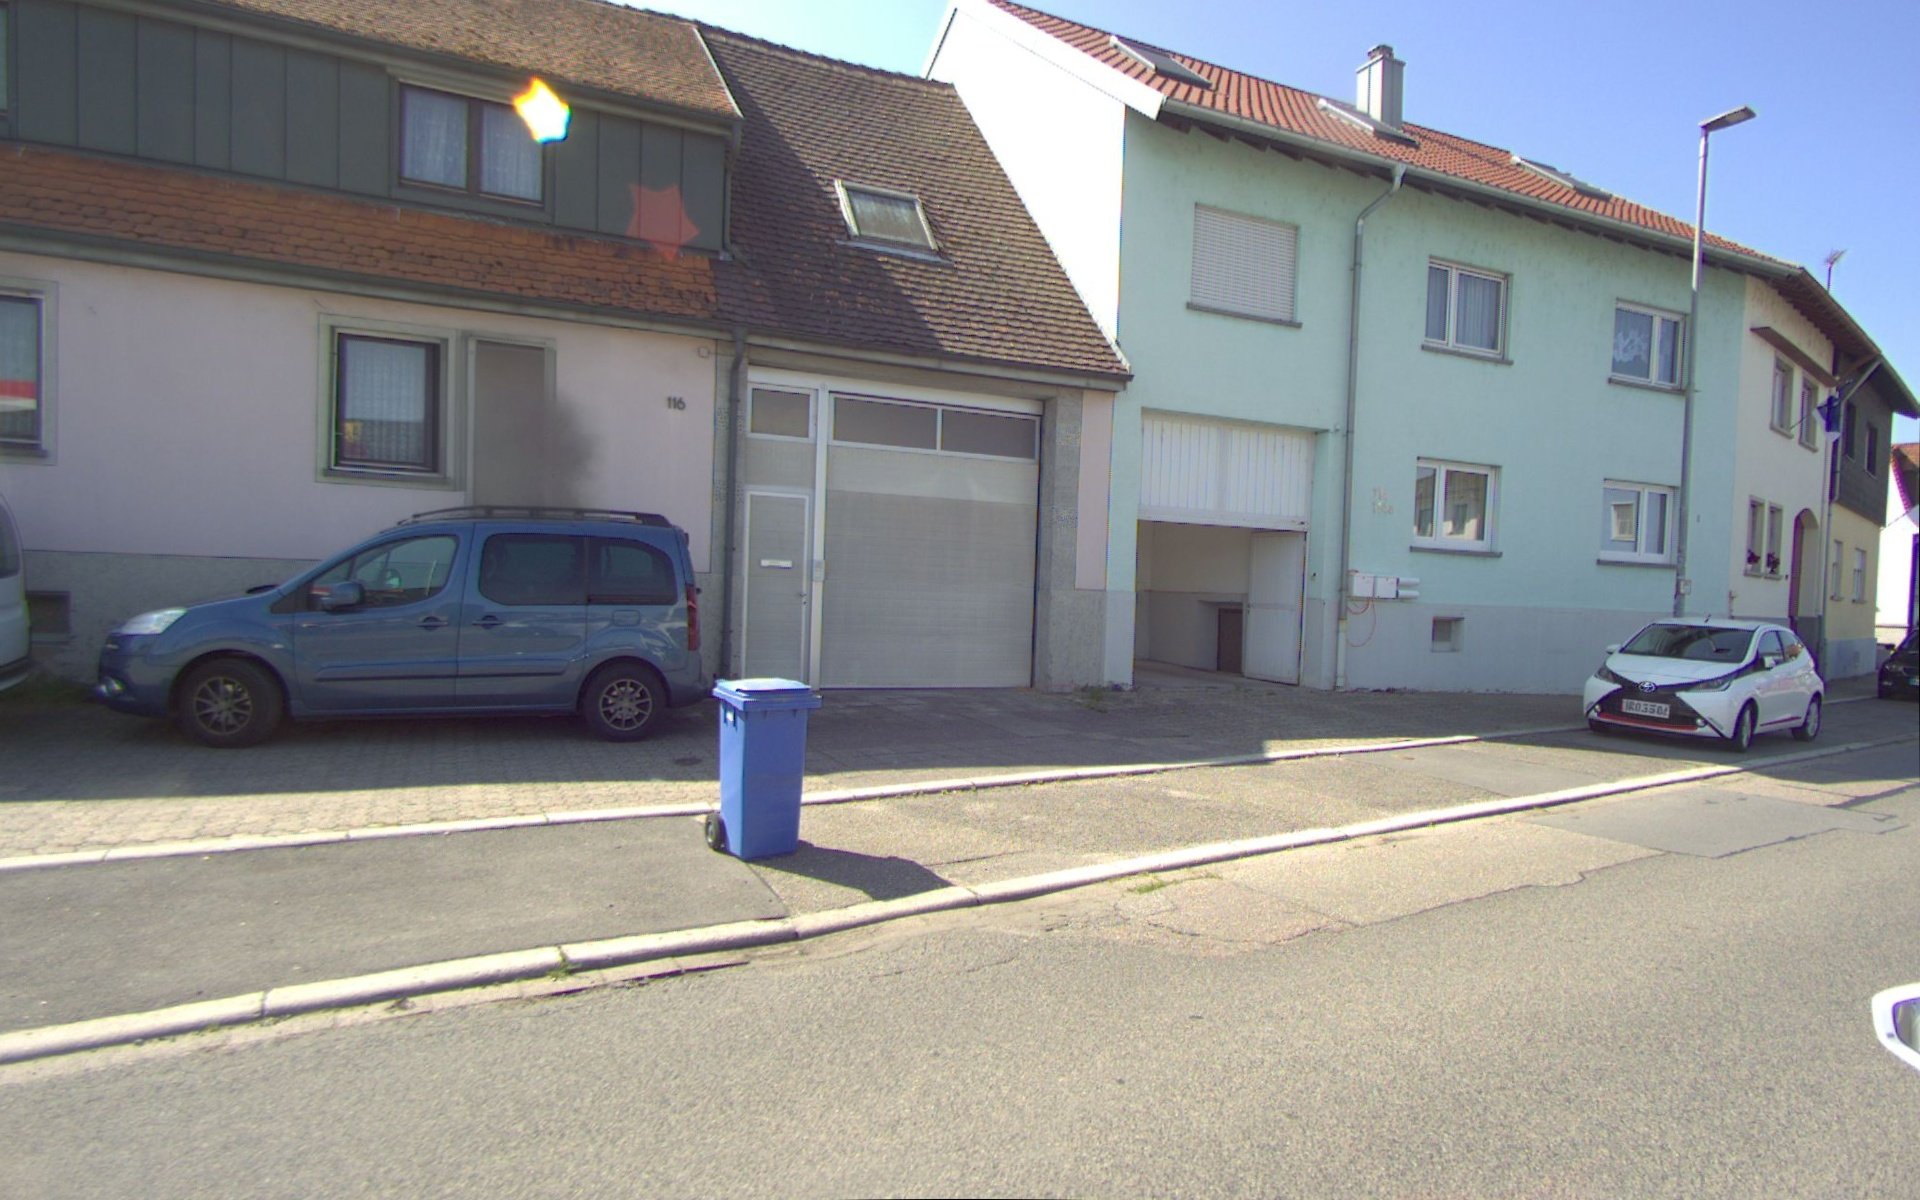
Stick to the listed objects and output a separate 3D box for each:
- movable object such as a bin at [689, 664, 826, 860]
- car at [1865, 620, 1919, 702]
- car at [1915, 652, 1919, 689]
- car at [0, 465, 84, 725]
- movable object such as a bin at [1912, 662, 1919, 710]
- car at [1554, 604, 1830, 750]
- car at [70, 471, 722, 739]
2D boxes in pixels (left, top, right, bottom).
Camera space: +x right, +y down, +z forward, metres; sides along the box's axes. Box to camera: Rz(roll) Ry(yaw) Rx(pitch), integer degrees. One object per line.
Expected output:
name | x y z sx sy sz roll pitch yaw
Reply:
movable object such as a bin | -1.133 0.865 5.581 0.510 0.949 0.553 1 4 -39
car | 19.545 1.243 19.858 3.960 1.456 1.665 2 4 -38
car | 23.531 1.380 23.078 3.747 1.521 1.628 2 4 -38
car | -8.670 -0.130 6.382 4.218 1.798 1.962 3 2 -24
movable object such as a bin | 16.767 1.435 17.182 0.820 0.941 0.546 1 6 -43
car | 9.176 0.891 12.528 3.614 1.481 1.672 2 2 -36
car | -4.318 0.052 8.406 4.278 1.817 1.833 2 4 -21
